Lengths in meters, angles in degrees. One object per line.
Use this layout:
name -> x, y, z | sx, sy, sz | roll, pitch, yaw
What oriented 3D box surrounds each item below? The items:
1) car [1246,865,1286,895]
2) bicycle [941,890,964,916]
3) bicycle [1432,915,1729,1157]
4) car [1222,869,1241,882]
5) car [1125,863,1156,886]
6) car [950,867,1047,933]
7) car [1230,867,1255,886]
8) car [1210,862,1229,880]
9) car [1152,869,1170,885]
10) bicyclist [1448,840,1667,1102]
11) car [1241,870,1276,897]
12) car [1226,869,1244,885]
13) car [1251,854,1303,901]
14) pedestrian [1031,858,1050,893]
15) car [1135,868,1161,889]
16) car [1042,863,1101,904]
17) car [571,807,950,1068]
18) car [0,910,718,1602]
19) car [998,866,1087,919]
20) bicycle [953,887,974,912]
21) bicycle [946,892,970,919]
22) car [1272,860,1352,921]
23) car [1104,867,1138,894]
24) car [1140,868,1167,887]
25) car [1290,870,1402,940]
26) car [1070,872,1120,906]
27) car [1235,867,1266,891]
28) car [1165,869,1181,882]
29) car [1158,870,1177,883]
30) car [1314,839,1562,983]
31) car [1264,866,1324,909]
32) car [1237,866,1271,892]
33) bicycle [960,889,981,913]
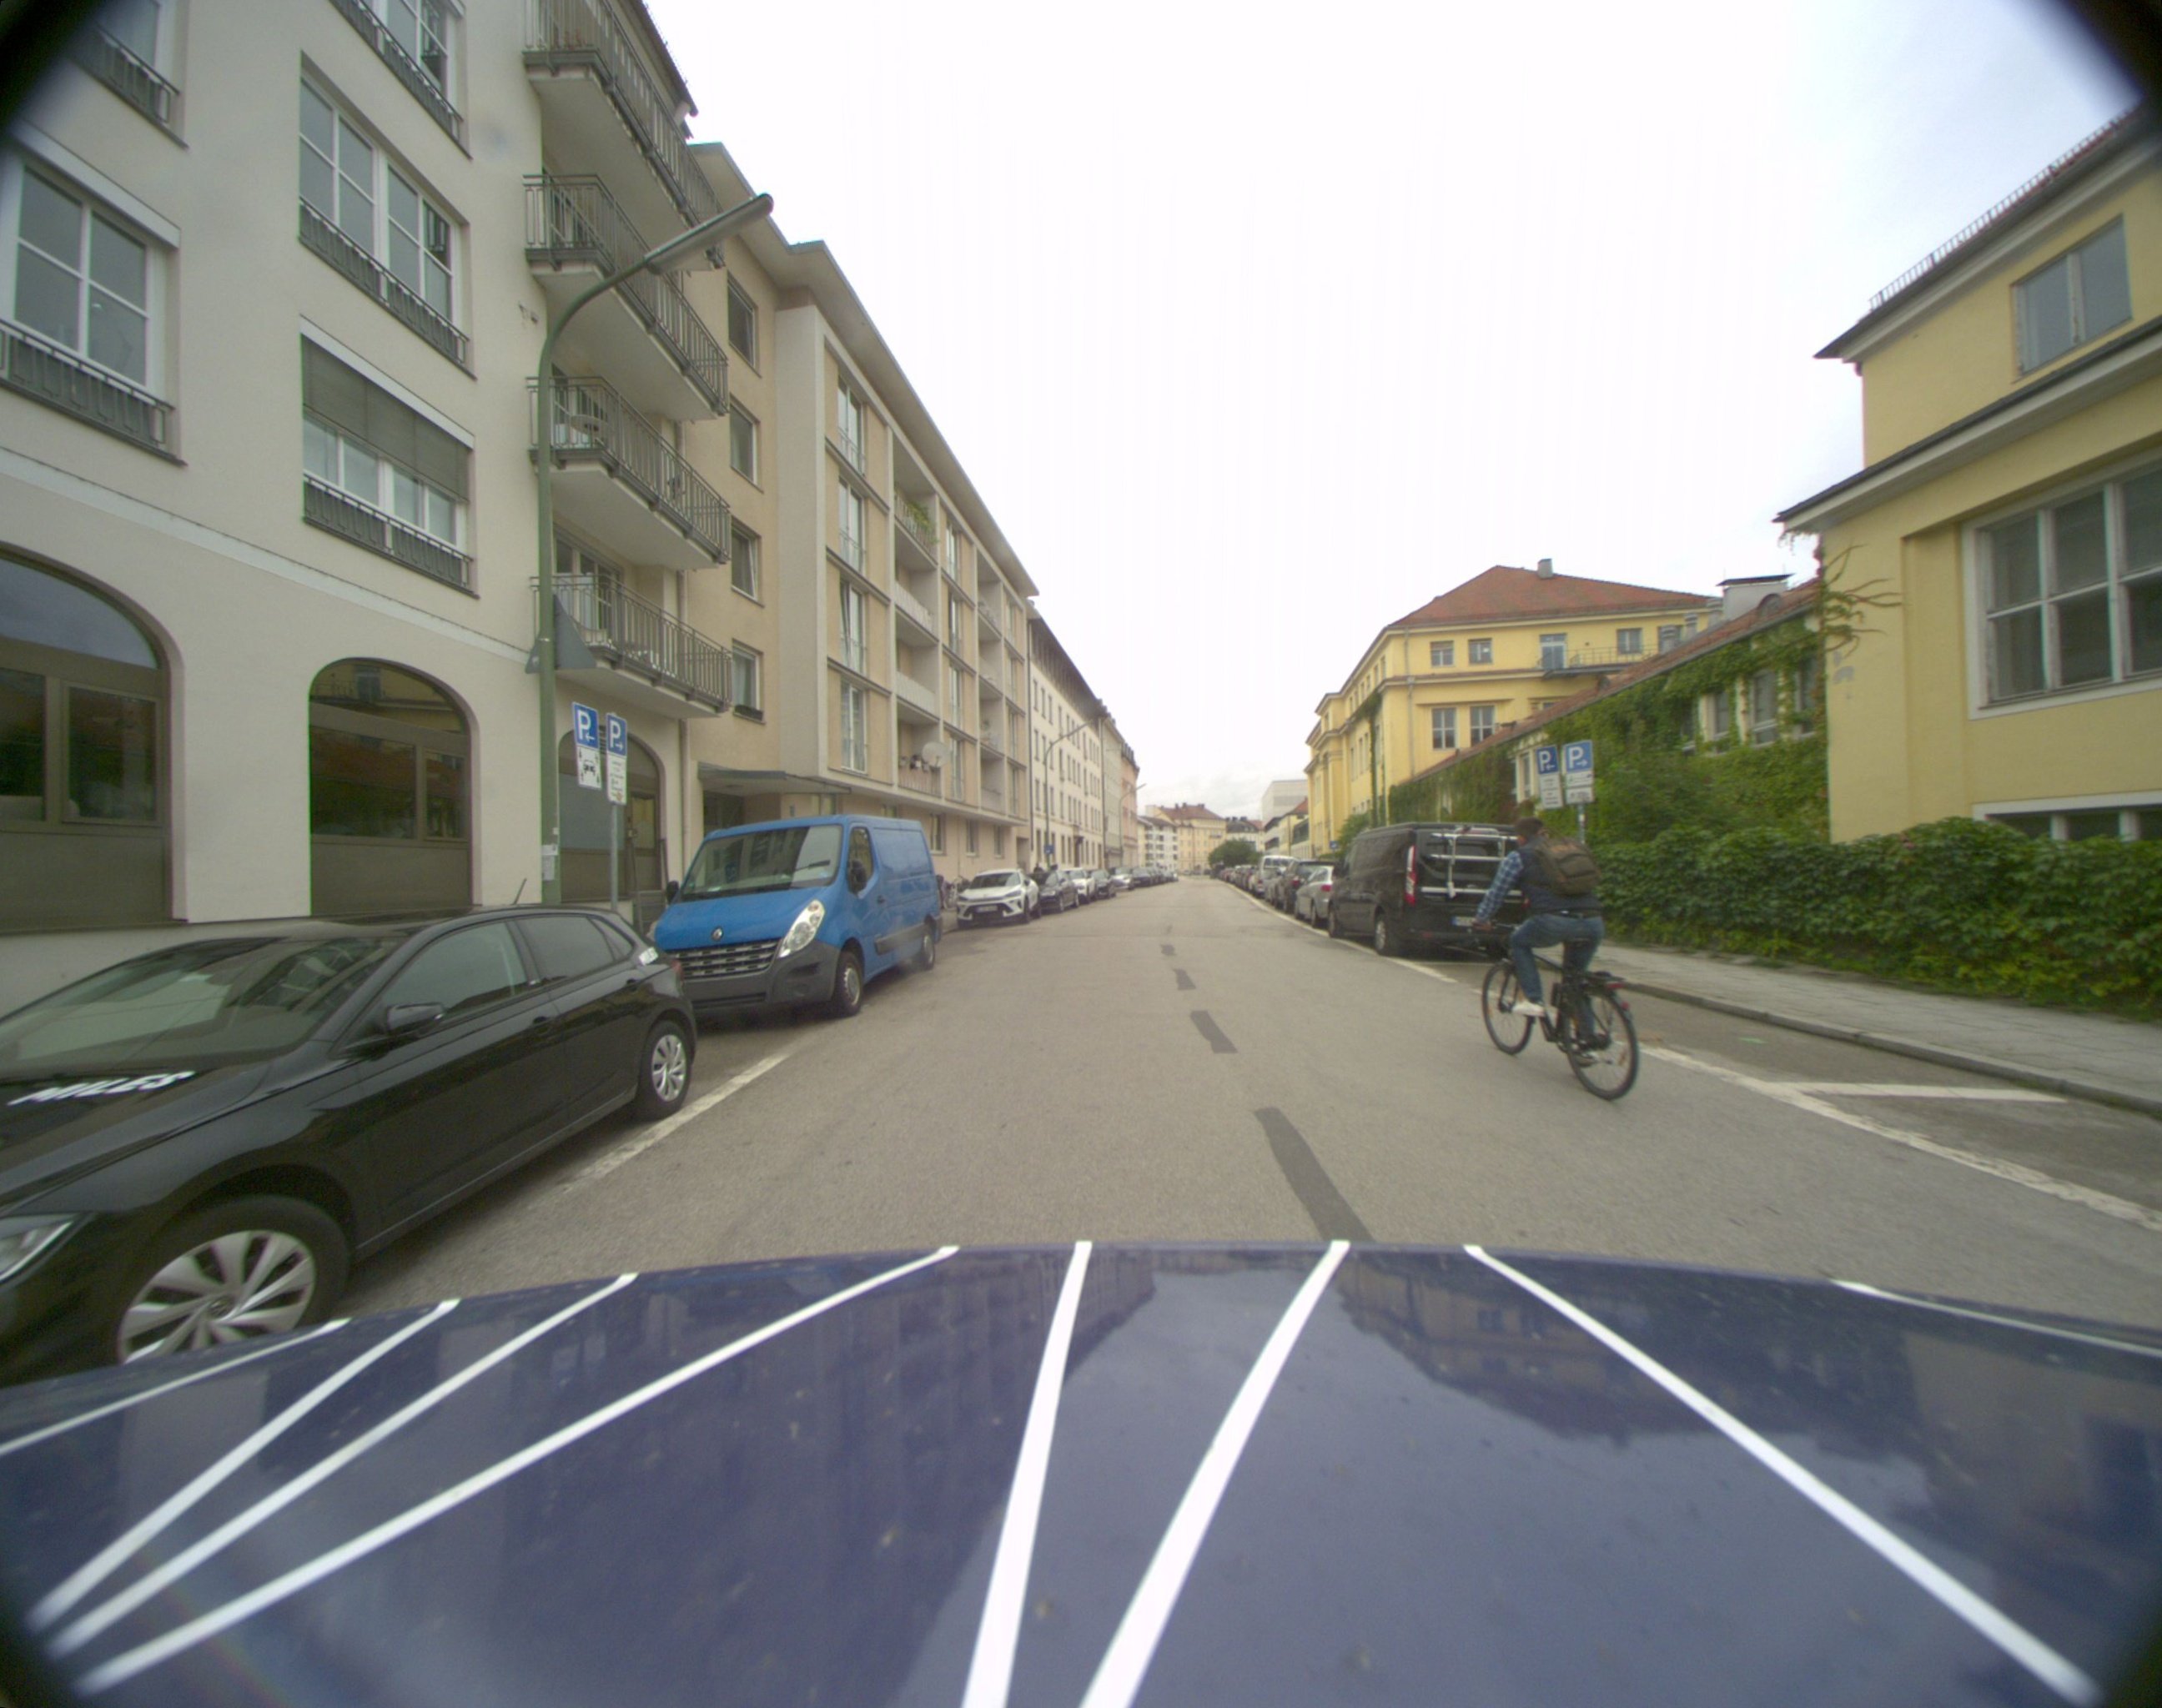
car -> 9.527, 1.317, 39.259 | 1.594, 1.432, 4.022 | 1, -1, 8
bicycle -> -4.801, 1.816, 28.532 | 0.378, 0.899, 1.393 | -2, -1, 11
bicycle -> 3.179, 1.072, 5.136 | 0.672, 1.152, 2.003 | -2, 0, 0
car -> 18.940, 2.701, 95.917 | 1.961, 1.473, 4.532 | 1, -1, 7
car -> 4.507, 1.510, 57.050 | 1.806, 1.475, 5.324 | -4, -2, 9
car -> -2.160, 1.195, 21.221 | 1.789, 1.524, 4.650 | -4, -1, 4
car -> 14.340, 2.008, 67.689 | 1.749, 1.624, 4.860 | 0, -1, 7
car -> 24.020, 2.943, 131.893 | 2.218, 2.836, 6.199 | 1, -1, 2
car -> 8.500, 2.402, 80.361 | 1.709, 1.582, 4.365 | -3, -2, 7
bicyclist -> 3.175, 0.731, 5.172 | 0.865, 1.598, 0.947 | -2, 0, 0
car -> 10.353, 1.684, 44.451 | 1.606, 1.422, 4.255 | 2, 0, 9
car -> 15.718, 2.330, 77.682 | 1.702, 1.488, 4.153 | 2, 0, 10
car -> 8.661, 1.010, 33.868 | 1.890, 1.878, 4.778 | 1, 0, 11
pedestrian -> -2.130, 1.138, 39.719 | 0.724, 1.753, 0.905 | -2, 2, 11
car -> 5.523, 1.962, 62.210 | 1.648, 1.579, 4.639 | -4, -2, 10
car -> -0.301, 1.188, 31.428 | 1.697, 1.480, 4.584 | -3, -1, 8
car -> -3.386, 0.738, 9.563 | 2.084, 2.221, 5.245 | -5, 1, 4
car -> -3.449, 1.134, 3.331 | 1.681, 1.381, 4.305 | -5, -1, -2
car -> -1.211, 1.254, 26.473 | 1.883, 1.513, 5.168 | -5, -2, 10
bicycle -> -4.686, 1.808, 30.313 | 0.378, 0.899, 1.393 | -2, -1, 11
bicycle -> -4.419, 1.831, 27.354 | 0.378, 0.899, 1.393 | 0, -1, 11
car -> 6.968, 1.030, 23.306 | 1.700, 1.633, 4.494 | 1, -1, 9
car -> 2.475, 1.623, 46.933 | 1.653, 1.486, 2.884 | -4, -1, 10
car -> 6.403, 2.057, 67.002 | 1.843, 1.513, 4.714 | -3, -1, 11
car -> 6.210, 1.119, 18.305 | 1.697, 1.385, 4.504 | 2, -1, 8
car -> 0.732, 1.628, 36.268 | 1.748, 1.379, 4.957 | -3, -1, 8
car -> 12.049, 1.752, 54.246 | 1.792, 1.577, 4.822 | 1, -1, 8
car -> 12.368, 2.885, 102.510 | 1.685, 1.663, 3.806 | -3, -1, 2
car -> 9.912, 2.530, 86.888 | 1.690, 1.393, 4.368 | -2, -1, 11
car -> 5.731, 0.804, 13.146 | 2.077, 1.952, 5.352 | 1, 0, 4
car -> 7.850, 1.177, 28.376 | 1.656, 1.406, 4.775 | 2, 0, 10
car -> 11.214, 1.591, 49.457 | 1.727, 1.620, 4.469 | 1, -1, 8
bicycle -> -4.323, 1.841, 29.873 | 0.378, 0.899, 1.393 | -2, -1, 11
